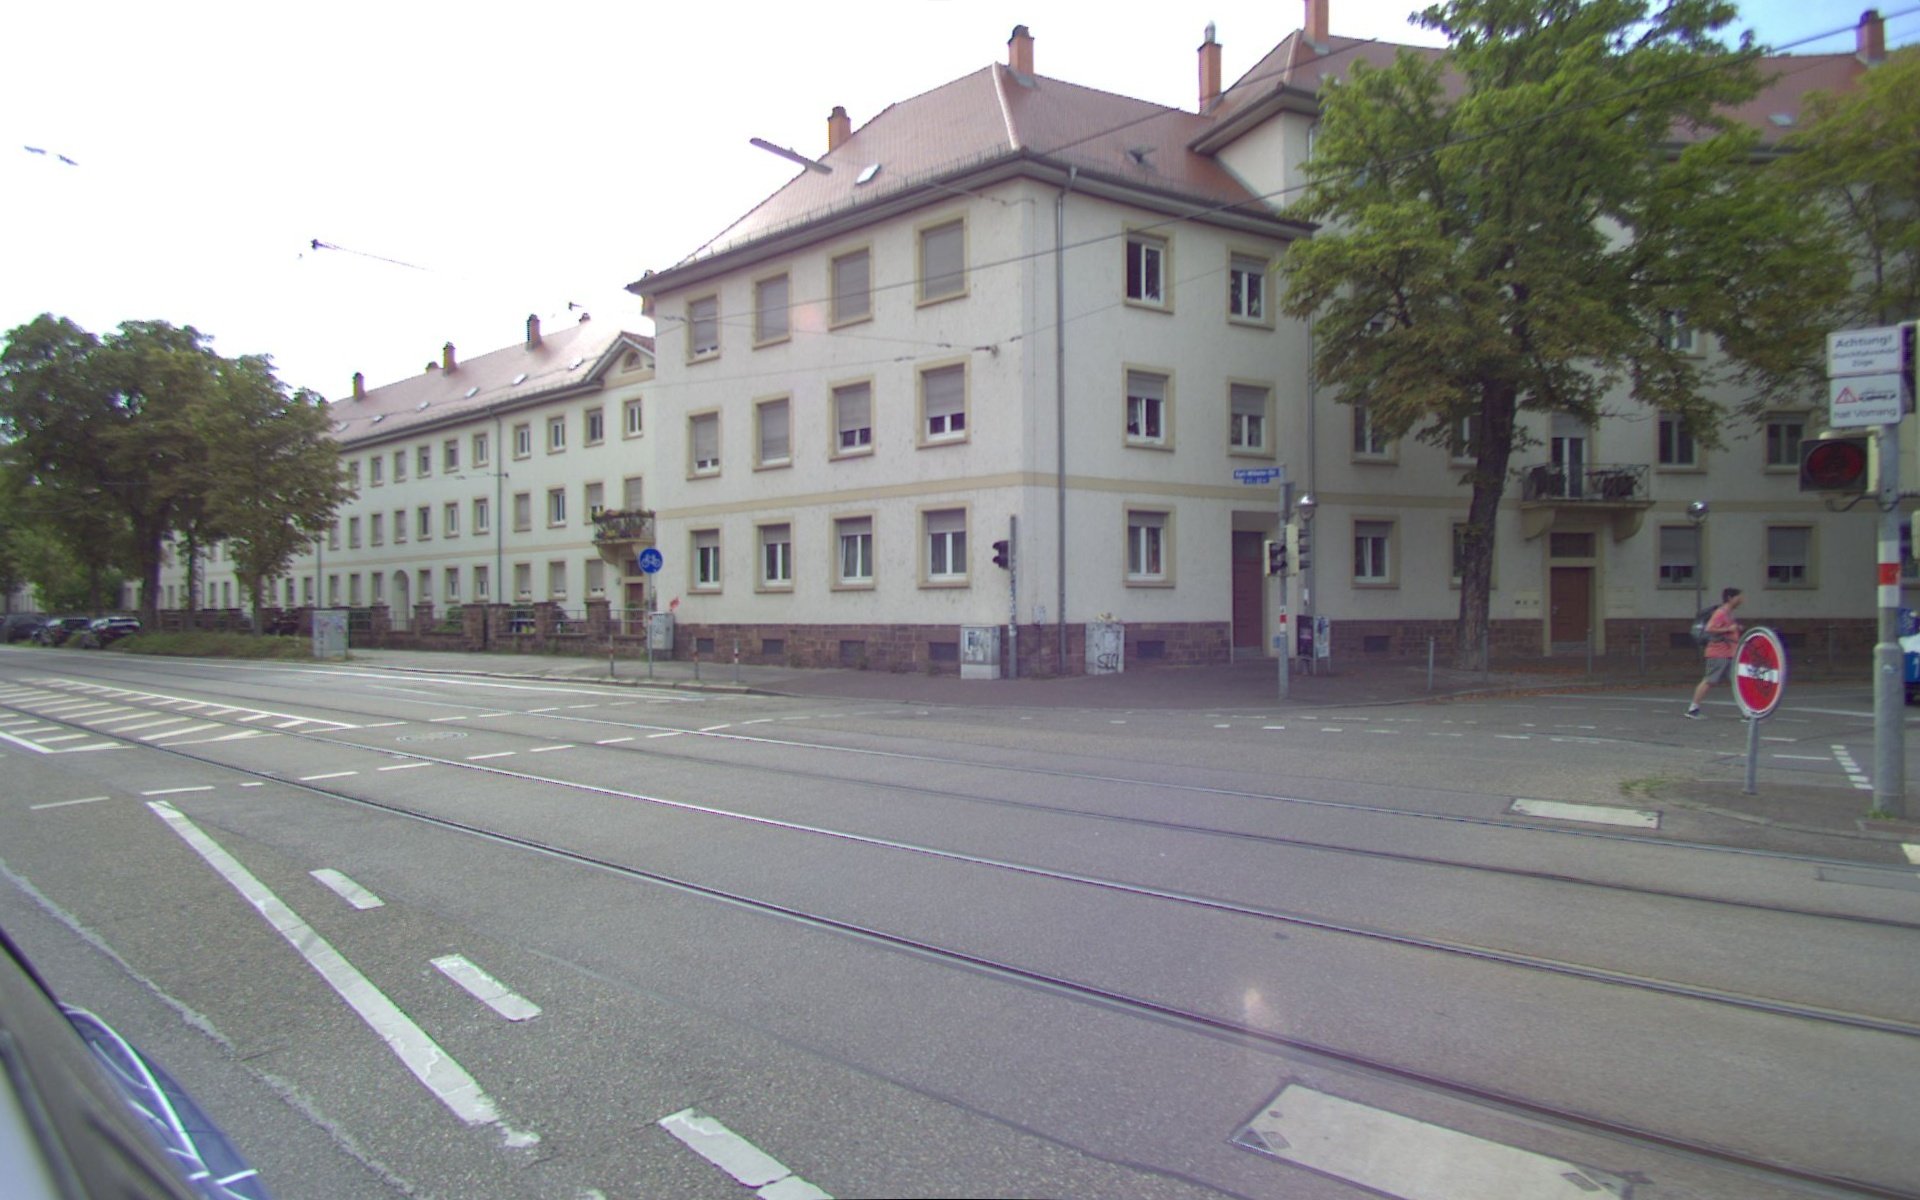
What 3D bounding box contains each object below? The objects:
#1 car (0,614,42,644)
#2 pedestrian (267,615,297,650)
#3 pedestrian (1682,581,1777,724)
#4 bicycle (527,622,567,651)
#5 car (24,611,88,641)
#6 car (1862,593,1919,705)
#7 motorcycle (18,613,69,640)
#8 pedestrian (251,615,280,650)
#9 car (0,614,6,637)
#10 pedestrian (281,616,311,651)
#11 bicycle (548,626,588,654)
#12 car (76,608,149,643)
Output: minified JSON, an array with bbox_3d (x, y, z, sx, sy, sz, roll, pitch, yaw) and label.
[{"bbox_3d":[-54.710,1.661,58.459,4.293,1.624,1.768,-1,-1,38],"label":"car"},{"bbox_3d":[-29.081,1.391,43.416,0.730,1.476,0.826,-1,-1,32],"label":"pedestrian"},{"bbox_3d":[10.721,0.706,14.106,0.720,1.915,0.837,1,-2,-34],"label":"pedestrian"},{"bbox_3d":[-13.550,1.195,33.192,1.670,0.922,0.473,-1,-2,38],"label":"bicycle"},{"bbox_3d":[-45.881,1.325,51.347,4.293,1.434,1.681,-1,0,38],"label":"car"},{"bbox_3d":[16.819,0.822,15.904,4.090,1.734,1.846,2,0,-12],"label":"car"},{"bbox_3d":[-48.706,1.393,53.793,0.590,1.269,1.852,-1,4,33],"label":"motorcycle"},{"bbox_3d":[-30.538,1.403,44.492,0.730,1.524,0.826,-1,-1,32],"label":"pedestrian"},{"bbox_3d":[-62.120,1.623,64.073,4.291,1.481,1.682,-1,-1,36],"label":"car"},{"bbox_3d":[-28.076,1.399,42.771,0.730,1.476,0.826,-1,-1,32],"label":"pedestrian"},{"bbox_3d":[-13.242,1.357,34.169,1.670,0.922,0.473,-1,-2,38],"label":"bicycle"},{"bbox_3d":[-39.066,1.174,46.629,4.293,1.434,1.681,-1,2,38],"label":"car"}]
